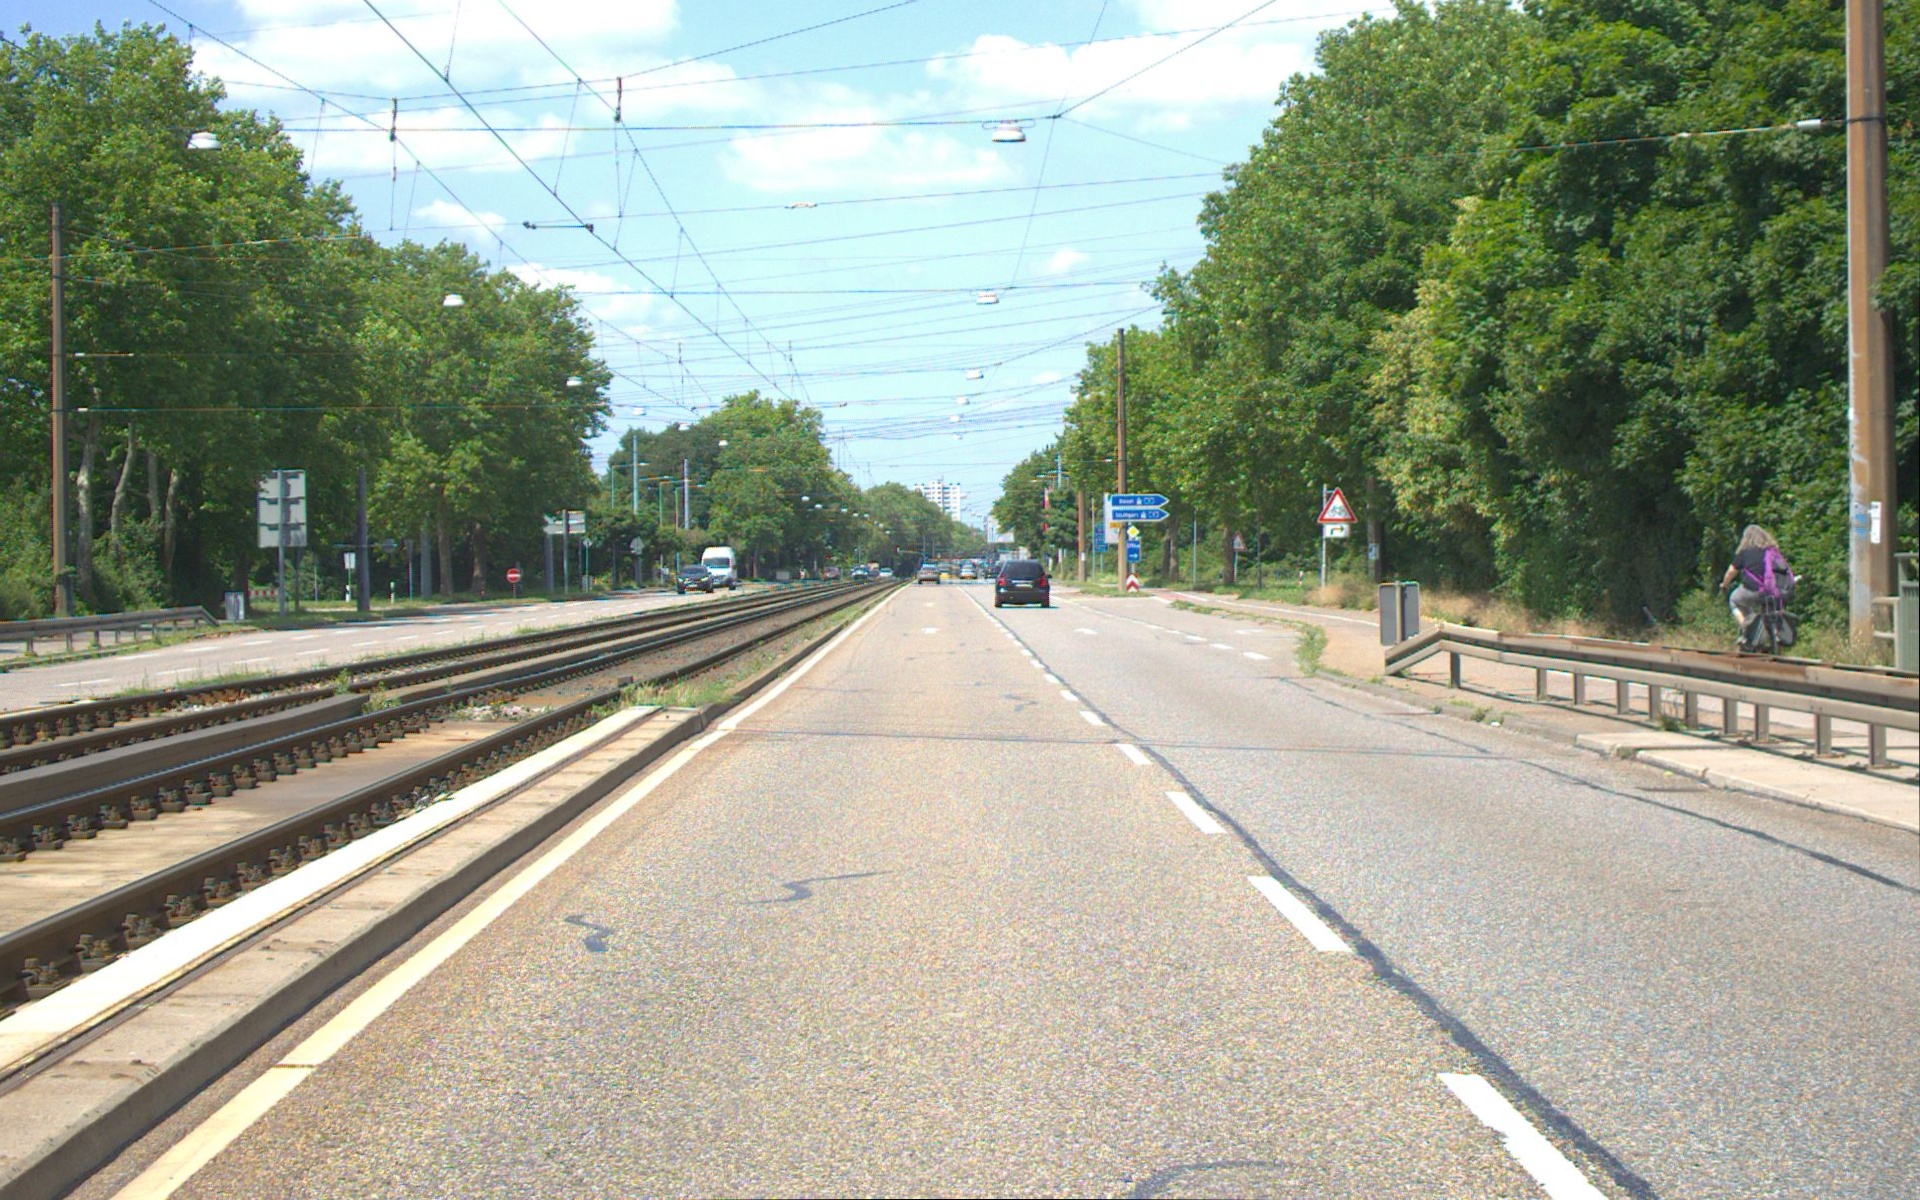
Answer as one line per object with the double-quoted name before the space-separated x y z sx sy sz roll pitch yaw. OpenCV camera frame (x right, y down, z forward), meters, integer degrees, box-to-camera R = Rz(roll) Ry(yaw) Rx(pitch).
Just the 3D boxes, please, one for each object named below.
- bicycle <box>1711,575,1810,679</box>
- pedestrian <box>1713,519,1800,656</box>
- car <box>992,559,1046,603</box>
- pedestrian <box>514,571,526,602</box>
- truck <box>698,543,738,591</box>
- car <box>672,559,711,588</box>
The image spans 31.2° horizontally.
"bicycle" 8.165 0.262 35.111 0.559 1.021 1.848 -1 1 0
"pedestrian" 8.139 -0.129 35.168 0.628 1.369 1.050 -1 1 0
"car" 1.903 -0.625 112.501 1.586 1.338 3.273 -1 1 -2
"pedestrian" -22.287 -0.683 174.075 0.513 1.546 0.704 -2 1 -6
"truck" -15.296 -2.080 217.533 2.054 2.929 6.320 -2 1 0
"car" -15.114 -1.498 193.656 1.817 1.509 4.428 -2 1 0
